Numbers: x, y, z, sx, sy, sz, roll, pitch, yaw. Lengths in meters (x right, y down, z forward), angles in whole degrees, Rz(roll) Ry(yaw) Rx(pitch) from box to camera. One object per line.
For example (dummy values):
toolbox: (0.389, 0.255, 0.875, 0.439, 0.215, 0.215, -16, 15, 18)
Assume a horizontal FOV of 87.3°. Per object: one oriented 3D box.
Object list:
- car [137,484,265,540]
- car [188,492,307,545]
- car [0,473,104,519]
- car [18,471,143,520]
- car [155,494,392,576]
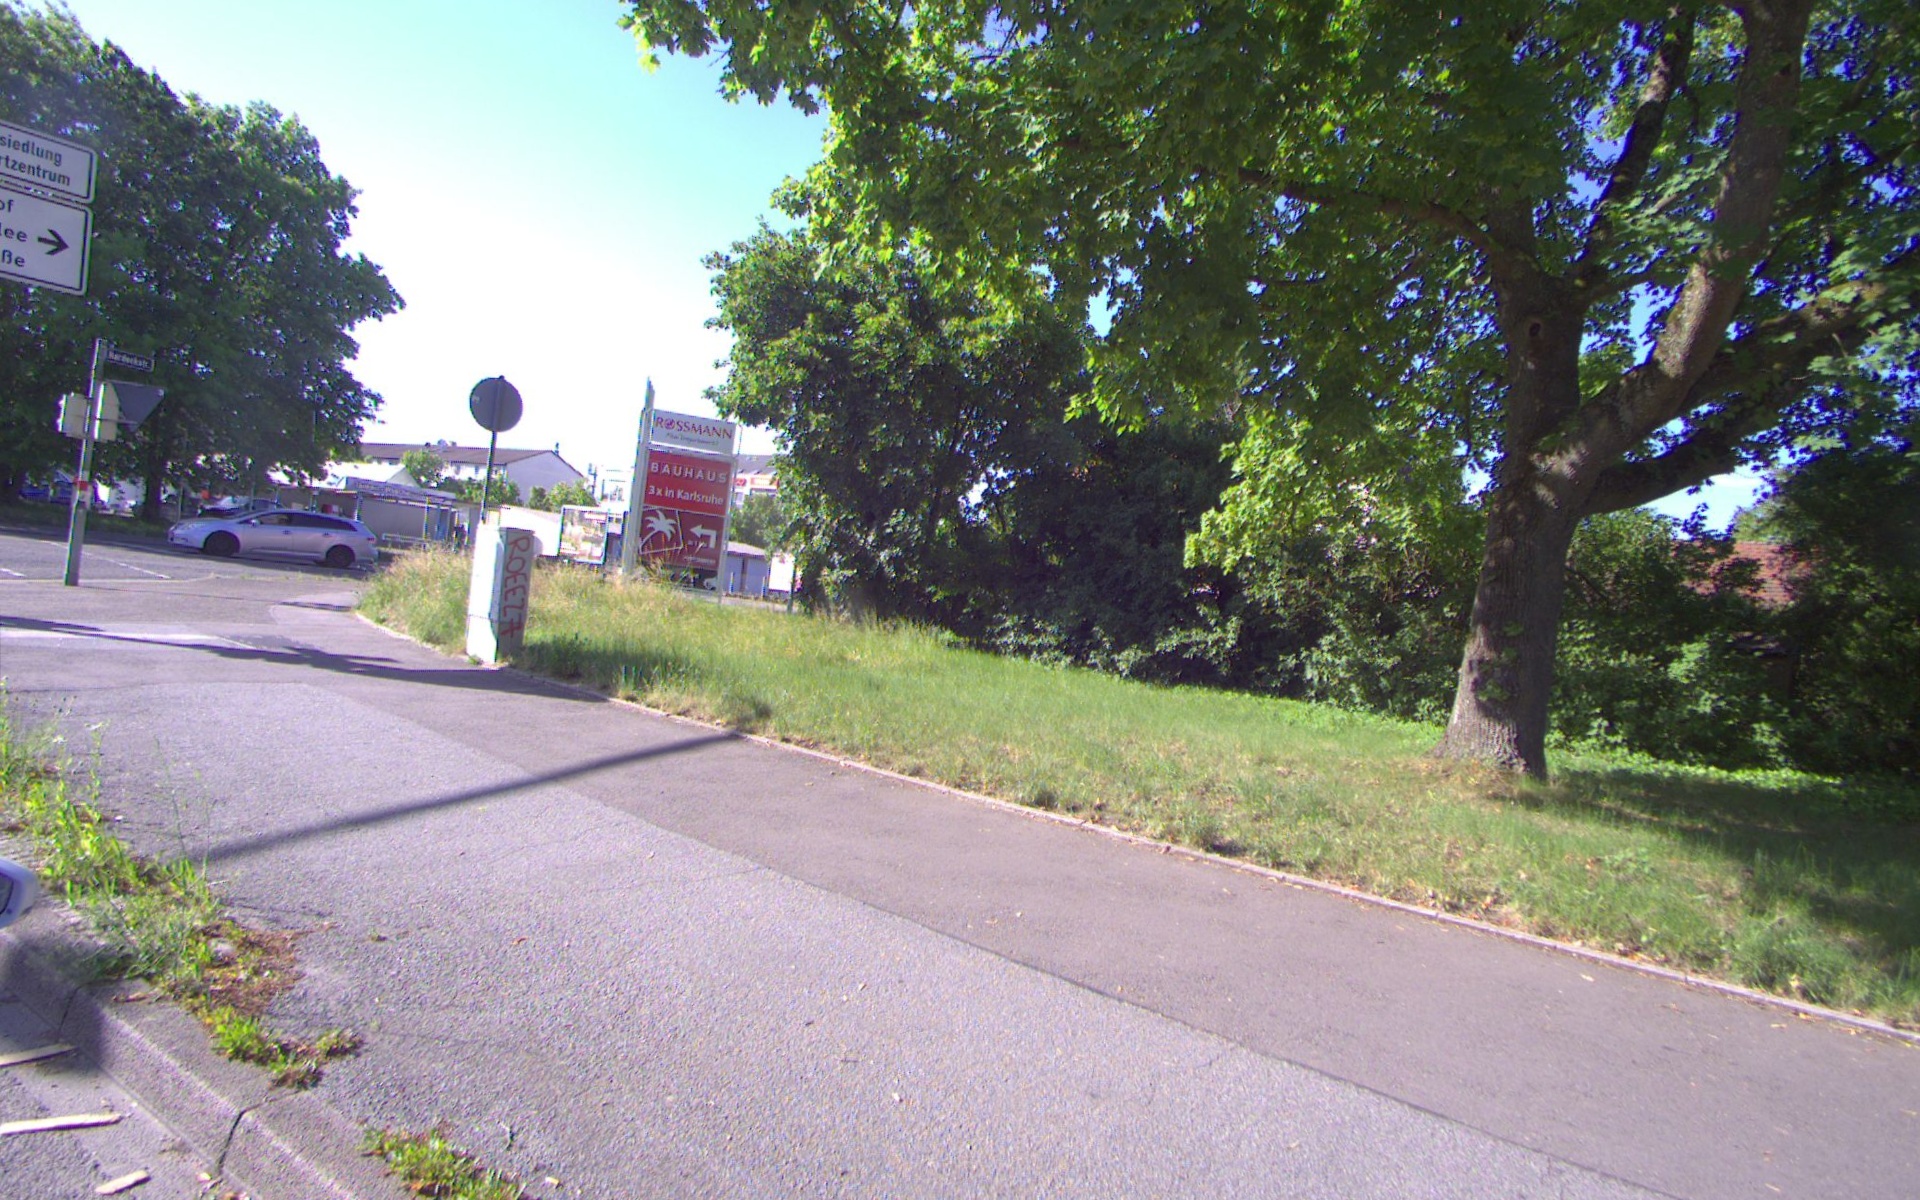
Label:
car: (-32.346, -3.716, 43.024, 1.962, 1.772, 4.000, 7, 1, 9)
car: (-30.303, -3.425, 42.924, 1.712, 1.701, 4.001, 7, 0, 9)
car: (-41.997, -4.766, 46.164, 1.712, 1.537, 3.902, 7, 0, 9)
car: (-39.186, -4.625, 44.939, 1.712, 1.537, 3.902, 7, 0, 9)
car: (-18.655, -1.732, 27.533, 1.973, 1.504, 4.994, 7, 0, 43)
